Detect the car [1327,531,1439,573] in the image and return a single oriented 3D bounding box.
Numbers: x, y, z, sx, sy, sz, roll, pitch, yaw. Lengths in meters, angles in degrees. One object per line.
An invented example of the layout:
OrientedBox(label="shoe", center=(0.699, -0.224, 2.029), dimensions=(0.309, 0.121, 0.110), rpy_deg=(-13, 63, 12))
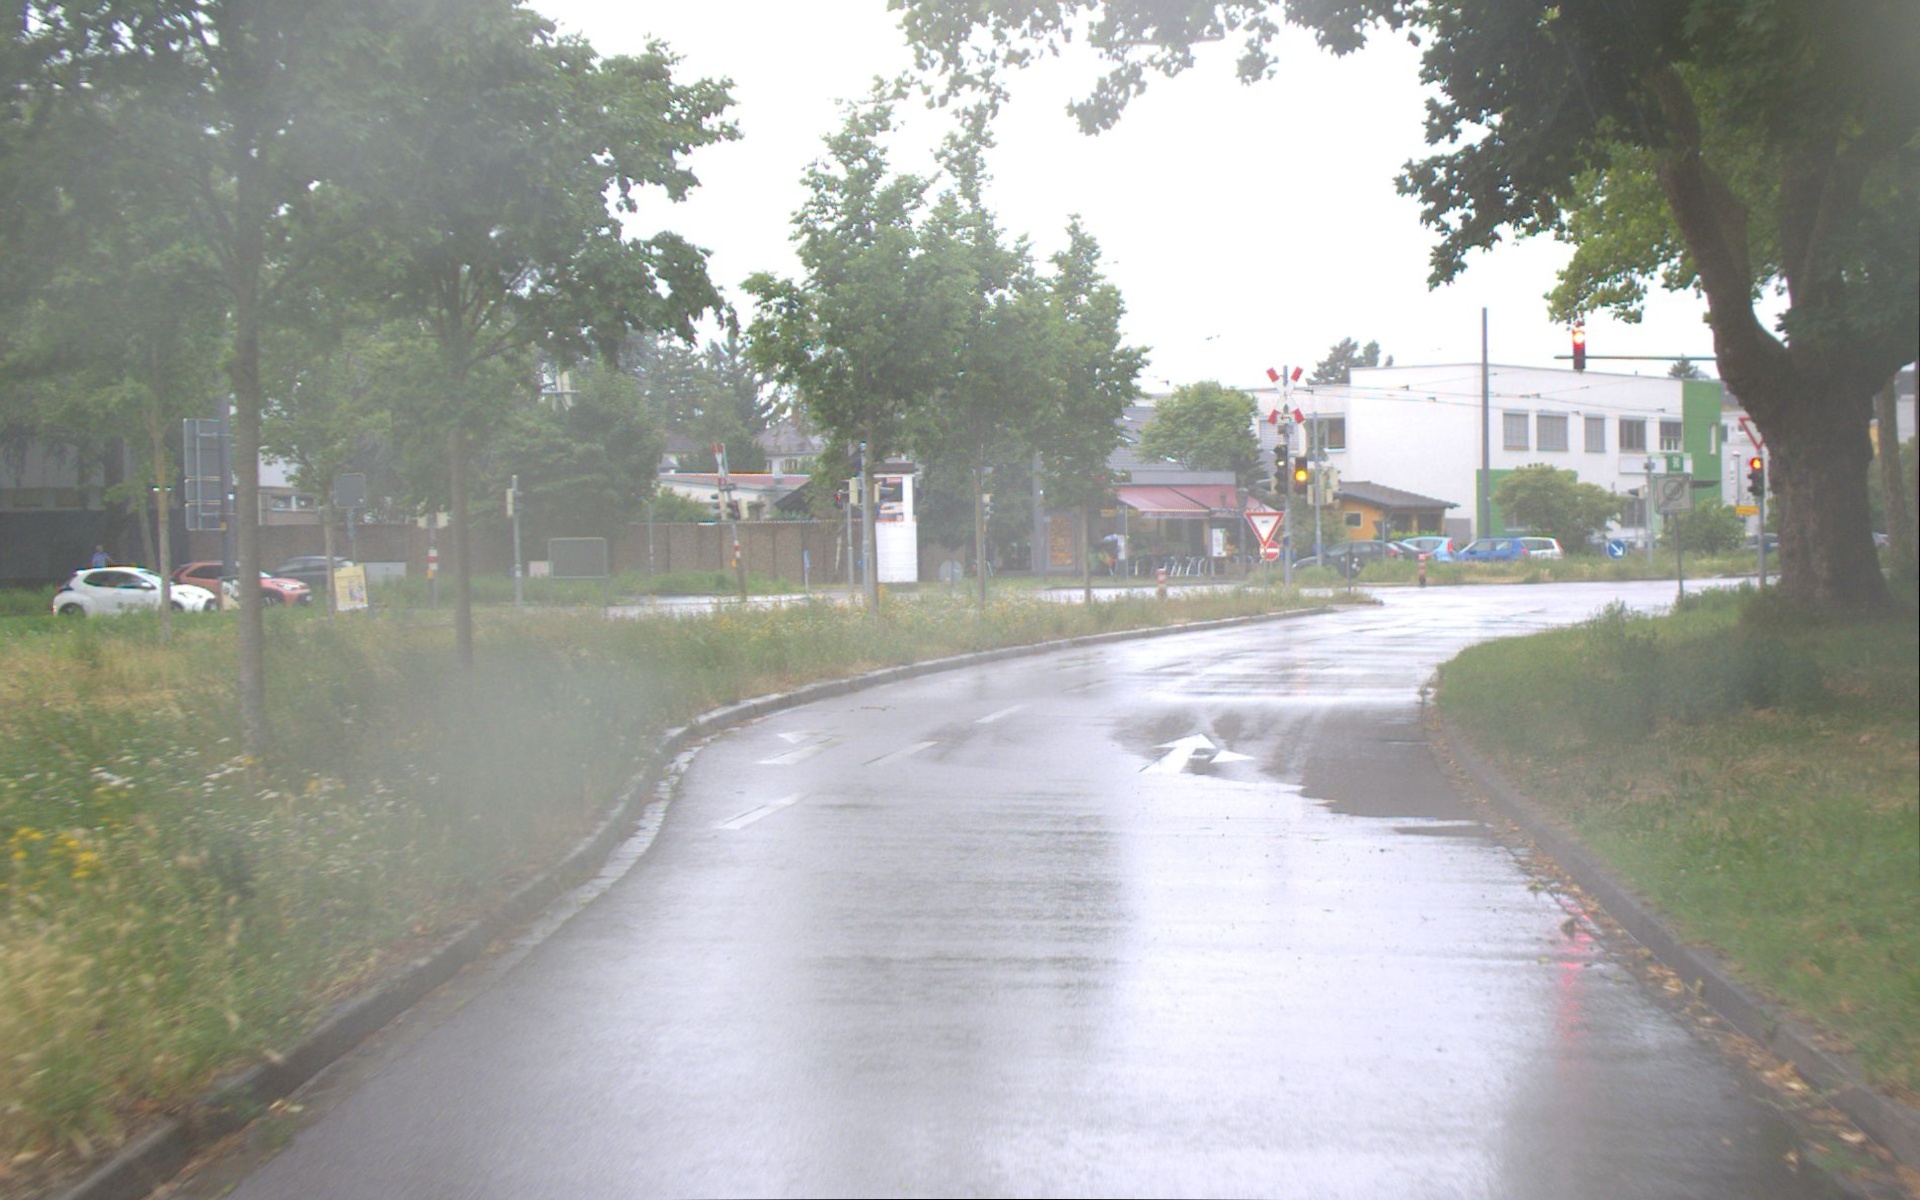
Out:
OrientedBox(label="car", center=(15.594, -1.768, 126.699), dimensions=(3.754, 1.437, 1.761), rpy_deg=(-1, 1, 19))

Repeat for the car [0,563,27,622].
OrientedBox(label="car", center=(-26.819, -0.179, 90.665), dimensions=(3.907, 1.493, 1.652), rpy_deg=(-1, 2, 1))

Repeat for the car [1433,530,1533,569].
OrientedBox(label="car", center=(20.399, -1.964, 134.025), dimensions=(3.752, 1.437, 1.762), rpy_deg=(-1, 1, 10))

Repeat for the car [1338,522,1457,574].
OrientedBox(label="car", center=(16.547, -1.954, 130.026), dimensions=(4.140, 1.853, 1.671), rpy_deg=(-1, 0, 23))

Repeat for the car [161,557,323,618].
OrientedBox(label="car", center=(-18.766, -0.332, 89.958), dimensions=(3.818, 1.494, 1.652), rpy_deg=(-1, 0, 5))

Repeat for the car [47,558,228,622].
OrientedBox(label="car", center=(-20.631, -0.260, 86.297), dimensions=(4.066, 1.494, 1.652), rpy_deg=(-1, 0, 5))
